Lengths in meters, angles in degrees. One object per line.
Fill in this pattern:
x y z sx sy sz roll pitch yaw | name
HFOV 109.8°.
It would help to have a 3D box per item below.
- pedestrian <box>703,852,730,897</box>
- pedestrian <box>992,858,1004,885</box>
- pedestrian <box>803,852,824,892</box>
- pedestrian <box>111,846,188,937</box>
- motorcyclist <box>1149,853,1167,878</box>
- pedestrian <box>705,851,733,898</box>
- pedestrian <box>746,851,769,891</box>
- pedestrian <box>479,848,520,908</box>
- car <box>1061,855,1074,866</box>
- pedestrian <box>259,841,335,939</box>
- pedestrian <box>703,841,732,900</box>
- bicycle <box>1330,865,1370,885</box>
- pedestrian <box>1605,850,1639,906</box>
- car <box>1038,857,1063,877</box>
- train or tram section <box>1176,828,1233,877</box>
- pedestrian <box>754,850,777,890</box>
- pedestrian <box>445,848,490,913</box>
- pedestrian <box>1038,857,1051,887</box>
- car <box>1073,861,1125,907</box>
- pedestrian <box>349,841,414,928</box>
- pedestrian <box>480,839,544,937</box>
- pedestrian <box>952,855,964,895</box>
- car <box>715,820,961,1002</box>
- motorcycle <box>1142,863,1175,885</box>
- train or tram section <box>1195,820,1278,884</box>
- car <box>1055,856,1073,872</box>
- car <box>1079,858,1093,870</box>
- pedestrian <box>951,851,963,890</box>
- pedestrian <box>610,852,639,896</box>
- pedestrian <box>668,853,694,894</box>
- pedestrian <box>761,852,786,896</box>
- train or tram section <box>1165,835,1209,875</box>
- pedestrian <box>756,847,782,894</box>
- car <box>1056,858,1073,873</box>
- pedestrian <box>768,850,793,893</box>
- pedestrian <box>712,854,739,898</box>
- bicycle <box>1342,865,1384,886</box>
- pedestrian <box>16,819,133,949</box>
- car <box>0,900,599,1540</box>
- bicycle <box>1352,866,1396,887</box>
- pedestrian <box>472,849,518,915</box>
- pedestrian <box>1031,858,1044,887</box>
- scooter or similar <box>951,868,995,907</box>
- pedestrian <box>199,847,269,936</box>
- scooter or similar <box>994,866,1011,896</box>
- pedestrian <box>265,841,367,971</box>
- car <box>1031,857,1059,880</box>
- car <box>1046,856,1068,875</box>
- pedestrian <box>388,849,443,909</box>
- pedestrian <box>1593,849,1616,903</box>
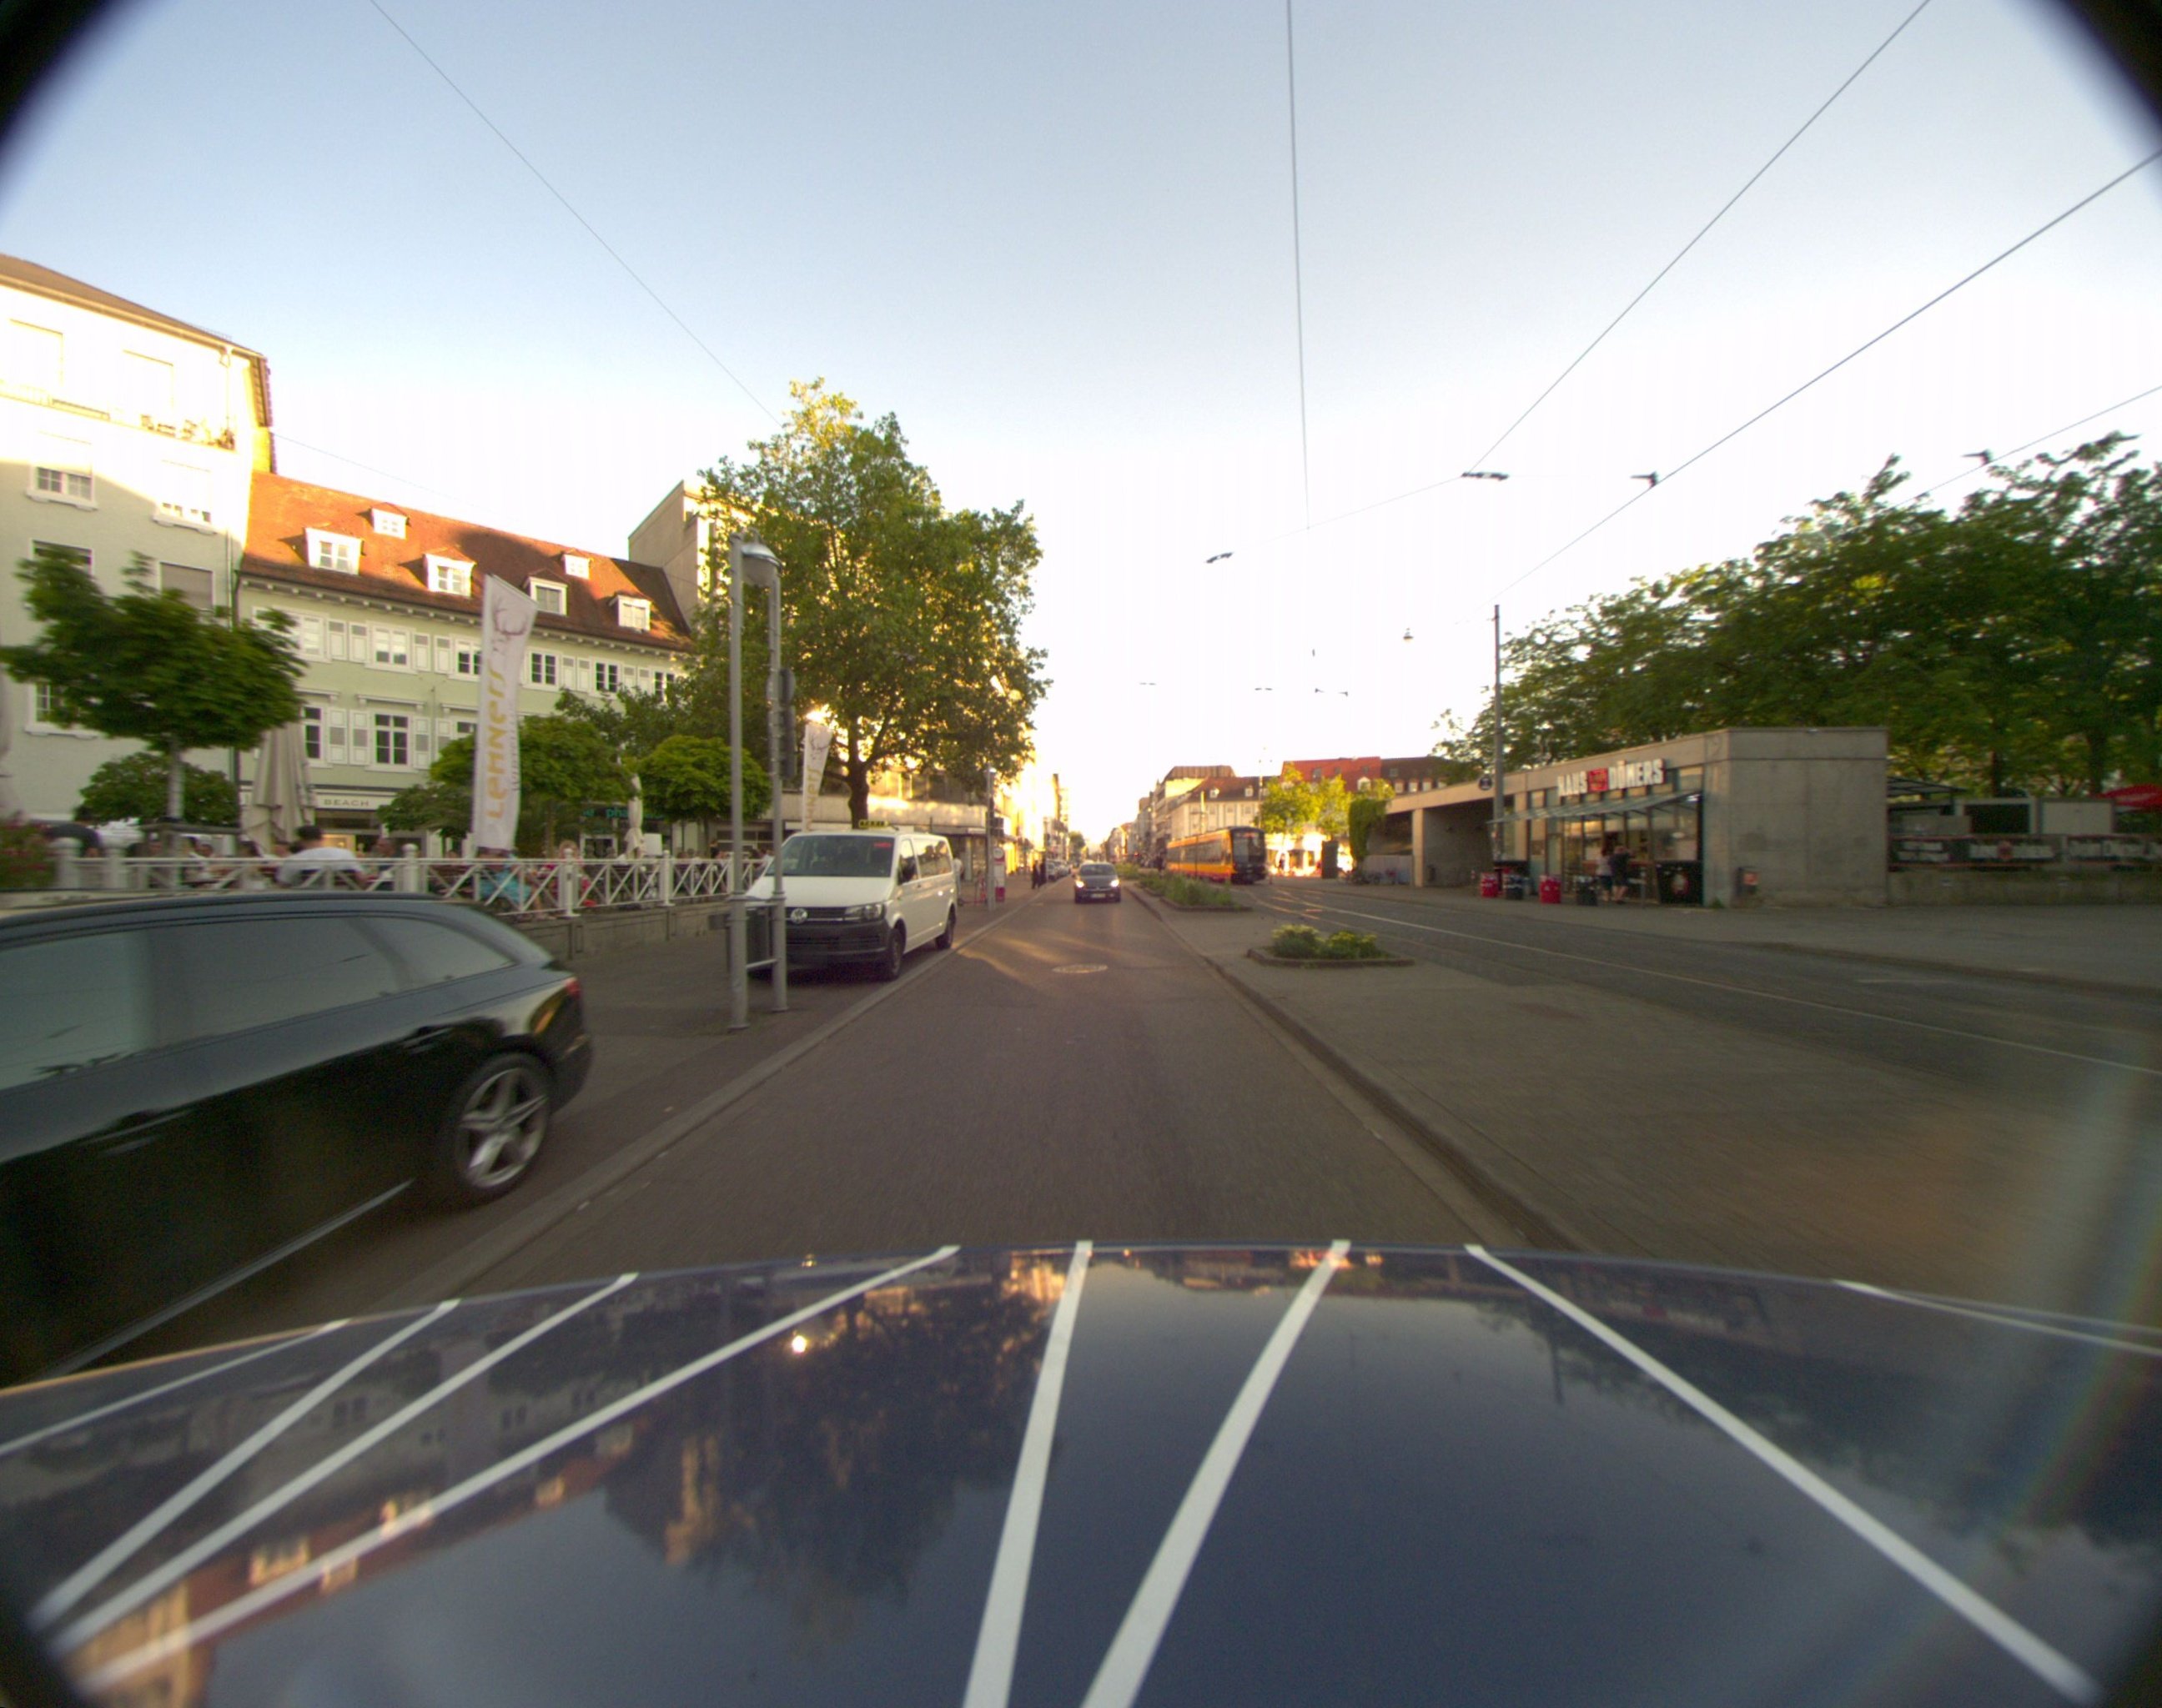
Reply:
-10.453 0.579 21.800 0.532 1.289 0.491 0 0 1 | pedestrian
-5.006 1.031 45.666 0.638 1.616 0.519 -1 1 -10 | pedestrian
-9.033 0.595 25.645 0.532 1.325 0.491 0 0 1 | pedestrian
-13.964 0.555 11.405 0.490 1.325 0.532 0 0 1 | pedestrian
4.562 0.694 45.083 0.801 1.431 0.799 -2 1 -18 | motorcyclist
-10.035 0.567 21.085 0.490 1.289 0.532 0 0 1 | pedestrian
-10.670 0.549 25.075 0.532 1.289 0.491 0 0 1 | pedestrian
-12.977 0.535 16.962 0.490 1.325 0.532 0 0 1 | pedestrian
-1.920 0.928 108.475 1.771 1.565 4.000 2 0 1 | car
-10.869 0.484 10.551 0.532 1.325 0.491 0 0 1 | pedestrian
-9.626 0.426 20.123 0.490 1.549 0.532 0 0 1 | pedestrian
15.924 1.221 45.052 2.131 1.153 0.692 -1 0 2 | bicycle
15.990 0.700 22.460 0.563 1.643 0.552 -2 1 -5 | pedestrian
-2.523 1.042 63.066 1.771 1.565 4.000 2 0 1 | car
10.117 -0.067 63.498 2.902 3.664 11.984 -1 0 1 | train or tram section
-10.237 0.520 24.634 0.532 1.289 0.491 0 0 1 | pedestrian
-12.712 0.535 15.754 0.490 1.325 0.532 0 0 1 | pedestrian
-1.993 0.988 41.868 0.638 1.616 0.519 -1 1 -10 | pedestrian
0.641 1.050 28.117 1.738 1.495 4.000 -2 0 1 | car
-10.791 0.464 11.730 0.532 1.325 0.491 0 0 1 | pedestrian
-7.652 0.444 10.232 0.532 1.288 0.490 -1 0 -14 | pedestrian
-5.332 0.901 32.861 0.431 1.726 0.410 1 0 -4 | pedestrian
-3.155 0.636 11.185 1.857 2.055 5.215 0 0 1 | car
4.596 1.191 45.066 1.781 1.230 0.805 -2 1 -20 | motorcycle
10.017 -0.053 50.727 2.902 3.664 13.482 -1 0 1 | train or tram section
-1.868 1.094 83.834 1.771 1.565 4.000 2 0 1 | car
0.684 1.288 101.864 1.810 1.474 4.284 -3 -1 0 | car
-5.480 0.731 33.546 0.432 1.726 0.409 1 0 -18 | pedestrian
-13.588 0.580 22.615 0.532 1.289 0.491 0 0 1 | pedestrian
-12.583 0.606 23.891 0.532 1.289 0.491 0 0 1 | pedestrian
-9.046 0.576 22.371 0.532 1.289 0.491 0 0 1 | pedestrian
10.265 0.124 74.941 2.902 3.664 10.785 -1 0 1 | train or tram section
-8.956 0.462 21.796 0.532 1.325 0.491 0 0 1 | pedestrian
-1.889 1.318 88.936 1.771 1.565 4.000 2 0 1 | car
-9.100 0.535 23.031 0.532 1.289 0.491 0 0 1 | pedestrian
-10.492 0.642 22.437 0.532 1.289 0.491 0 0 1 | pedestrian
16.039 1.226 43.313 2.131 1.153 0.692 -1 0 2 | bicycle
-13.550 0.394 10.254 0.590 1.682 0.732 -1 0 -6 | pedestrian
-3.472 0.966 1.823 1.701 1.382 4.547 1 0 0 | car
16.072 1.233 41.693 2.131 1.153 0.692 -1 0 2 | bicycle
-11.910 0.566 15.455 0.532 1.325 0.491 0 0 1 | pedestrian
-2.433 1.017 42.559 0.638 1.616 0.519 -1 1 -10 | pedestrian
-3.536 1.091 24.943 1.345 1.225 0.535 1 1 -2 | scooter or similar
-12.423 0.534 11.161 0.491 1.259 0.531 -1 0 -23 | pedestrian
-3.361 1.142 32.553 0.534 1.225 1.656 1 1 1 | scooter or similar
-7.792 0.517 7.756 0.532 1.288 0.491 0 0 1 | pedestrian
-2.623 1.033 56.291 1.771 1.565 4.000 2 0 1 | car
-2.174 1.039 70.495 1.771 1.565 4.000 2 0 1 | car
-14.904 0.549 17.029 0.628 1.325 0.664 0 0 1 | pedestrian
16.326 0.684 23.709 0.394 1.643 0.401 -2 1 -5 | pedestrian
